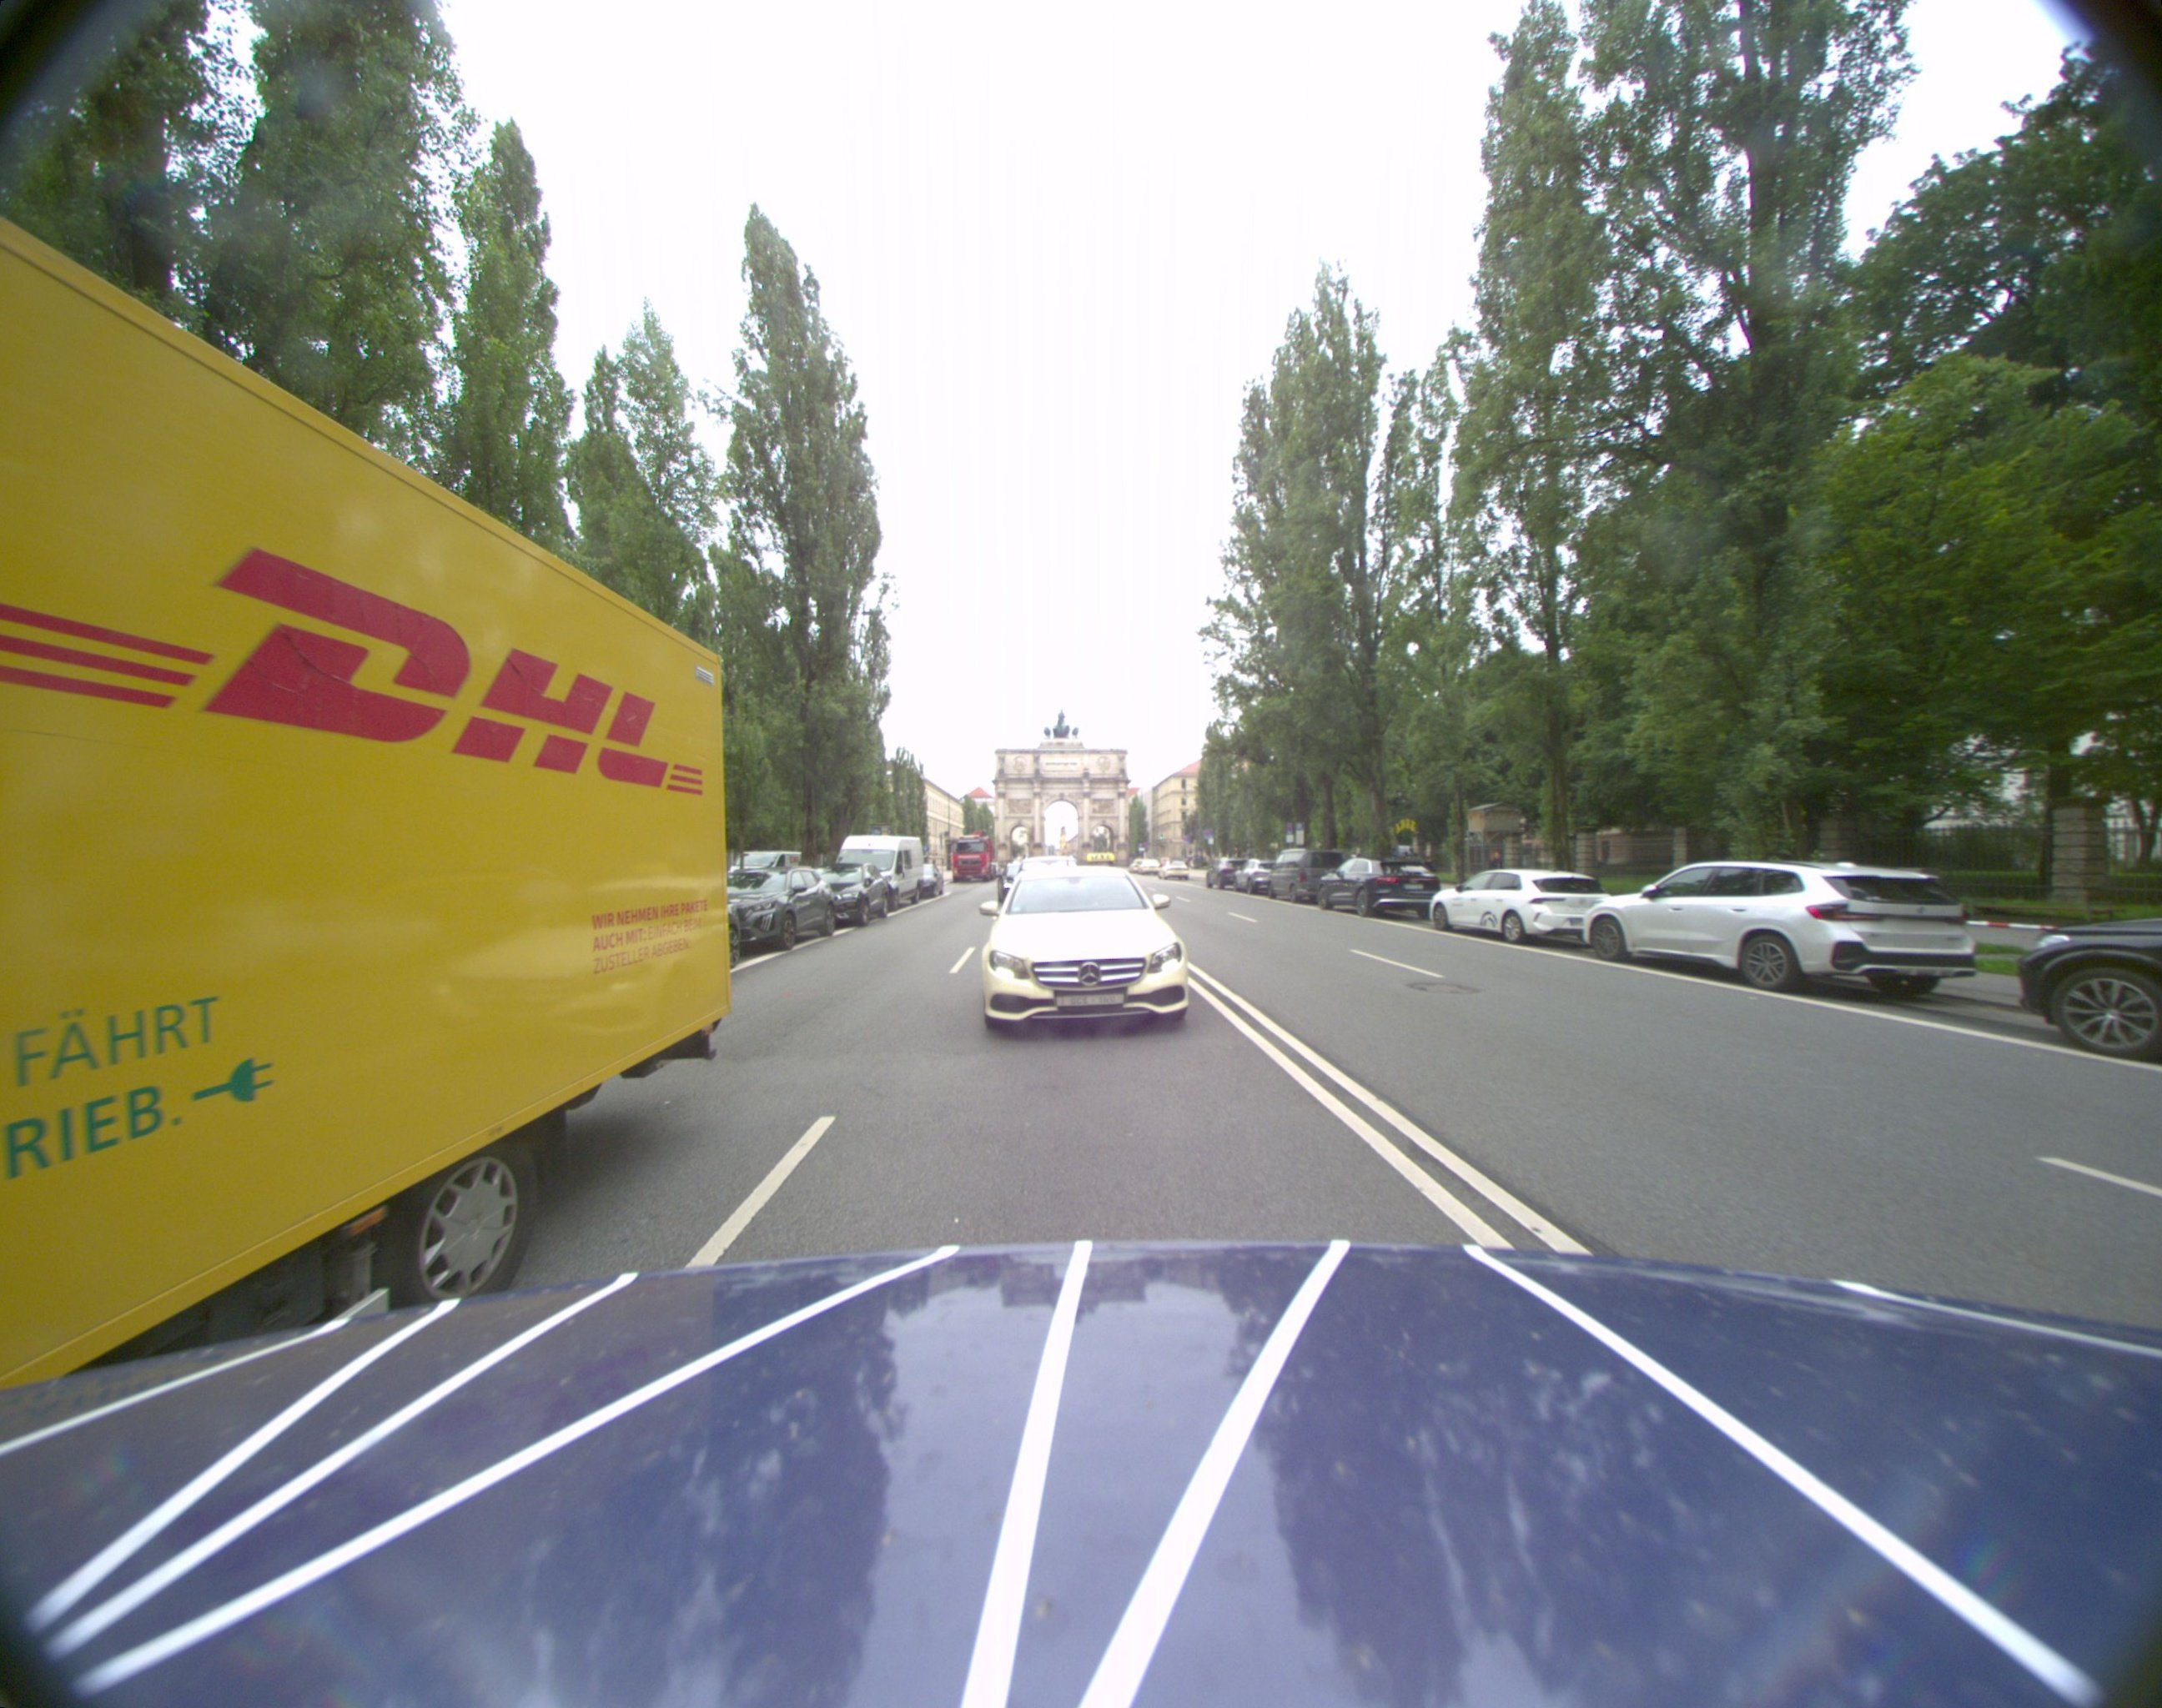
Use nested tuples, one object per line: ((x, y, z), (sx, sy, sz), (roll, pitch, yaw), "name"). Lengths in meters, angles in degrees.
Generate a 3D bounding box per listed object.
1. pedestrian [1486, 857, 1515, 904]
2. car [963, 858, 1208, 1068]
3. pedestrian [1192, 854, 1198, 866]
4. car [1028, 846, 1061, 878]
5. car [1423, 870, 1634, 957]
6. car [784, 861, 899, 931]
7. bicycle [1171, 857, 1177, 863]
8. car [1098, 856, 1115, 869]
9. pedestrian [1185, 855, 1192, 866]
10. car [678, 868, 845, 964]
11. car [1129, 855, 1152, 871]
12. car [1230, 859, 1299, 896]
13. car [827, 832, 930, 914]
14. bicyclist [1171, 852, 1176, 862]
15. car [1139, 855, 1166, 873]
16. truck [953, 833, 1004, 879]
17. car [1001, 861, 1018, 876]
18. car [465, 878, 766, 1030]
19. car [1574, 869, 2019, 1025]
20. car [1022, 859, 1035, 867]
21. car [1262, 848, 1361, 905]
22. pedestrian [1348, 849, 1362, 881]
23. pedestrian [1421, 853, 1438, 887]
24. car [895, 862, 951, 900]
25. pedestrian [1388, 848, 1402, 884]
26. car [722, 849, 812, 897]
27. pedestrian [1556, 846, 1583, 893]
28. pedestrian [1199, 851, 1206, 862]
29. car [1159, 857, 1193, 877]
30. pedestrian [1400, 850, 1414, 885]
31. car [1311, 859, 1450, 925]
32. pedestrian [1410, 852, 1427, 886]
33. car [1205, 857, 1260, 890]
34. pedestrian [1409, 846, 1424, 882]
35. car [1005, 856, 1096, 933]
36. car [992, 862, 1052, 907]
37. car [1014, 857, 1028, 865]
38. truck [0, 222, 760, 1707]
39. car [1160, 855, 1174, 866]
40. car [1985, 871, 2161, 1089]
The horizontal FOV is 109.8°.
((15.484, 0.956, 28.055), (0.584, 1.710, 0.786), (-1, 0, -3), "pedestrian")
((-0.025, 0.888, 8.466), (1.920, 1.566, 4.688), (-2, 0, -2), "car")
((16.380, 0.899, 109.186), (0.845, 1.668, 0.968), (0, 0, 15), "pedestrian")
((-2.160, 0.478, 46.203), (1.890, 1.846, 4.312), (-1, 0, -1), "car")
((8.933, 1.105, 15.649), (1.681, 1.414, 4.236), (1, 0, -2), "car")
((-6.183, 1.019, 20.128), (1.826, 1.581, 4.222), (-1, 0, -3), "car")
((13.743, 0.846, 112.309), (0.709, 0.933, 1.736), (-1, 0, 9), "bicycle")
((3.173, 1.029, 94.172), (1.790, 1.646, 4.112), (1, 0, -3), "car")
((15.538, 0.914, 109.510), (0.845, 1.668, 0.968), (0, 0, 15), "pedestrian")
((-6.033, 1.085, 14.896), (1.656, 1.494, 4.112), (-2, 0, -3), "car")
((6.259, 0.957, 80.258), (1.823, 1.550, 4.857), (2, 0, -2), "car")
((8.431, 1.049, 35.300), (1.896, 1.575, 4.653), (1, 0, -2), "car")
((-6.811, 0.586, 26.421), (2.080, 2.464, 6.282), (-1, 0, -2), "car")
((13.740, 0.433, 112.330), (0.695, 1.489, 0.862), (0, 0, 9), "bicyclist")
((6.880, 0.899, 73.206), (1.943, 1.615, 4.963), (0, 1, -2), "car")
((-7.517, 0.157, 56.810), (2.721, 3.091, 10.424), (0, 0, -2), "truck")
((-8.209, 1.646, 87.913), (1.808, 1.619, 3.999), (0, 0, -3), "car")
((-5.952, 1.160, 10.400), (1.637, 1.437, 4.147), (-3, 0, -3), "car")
((9.171, 1.043, 10.420), (1.790, 1.579, 4.460), (2, 0, -1), "car")
((-12.288, 2.088, 177.162), (1.785, 1.739, 4.325), (0, 0, 14), "car")
((8.545, 0.798, 28.662), (1.999, 1.945, 4.936), (1, 0, -2), "car")
((15.306, 0.615, 42.388), (0.551, 1.737, 0.532), (-1, 1, -3), "pedestrian")
((17.142, 0.763, 37.394), (0.551, 1.659, 0.532), (-1, 1, -3), "pedestrian")
((-6.922, 1.141, 33.655), (1.759, 1.441, 3.999), (-3, 0, -3), "car")
((16.998, 0.661, 41.141), (0.551, 1.948, 0.532), (-1, 1, -3), "pedestrian")
((-13.809, 0.779, 33.777), (1.999, 1.935, 5.082), (0, 0, -1), "car")
((18.275, 0.563, 28.413), (0.551, 1.737, 0.672), (-1, 1, -3), "pedestrian")
((22.076, 0.484, 138.046), (0.796, 2.002, 0.754), (0, 0, -37), "pedestrian")
((7.317, 1.007, 58.772), (1.936, 1.488, 4.790), (0, -1, -1), "car")
((17.570, 0.719, 40.946), (0.434, 1.824, 0.612), (-1, 1, -3), "pedestrian")
((8.493, 0.996, 22.097), (1.820, 1.599, 5.051), (2, 0, -2), "car")
((16.576, 0.730, 37.340), (0.551, 1.691, 0.532), (-1, 1, -3), "pedestrian")
((7.893, 0.994, 40.020), (1.787, 1.586, 4.612), (2, 0, -2), "car")
((18.241, 0.551, 41.354), (0.551, 1.948, 0.532), (-1, 1, -3), "pedestrian")
((-0.753, 0.898, 19.024), (1.953, 1.615, 4.410), (-2, 0, -2), "car")
((-2.064, 1.024, 26.992), (1.923, 1.320, 4.410), (-2, 0, -4), "car")
((-13.528, 1.601, 171.758), (1.785, 1.739, 4.325), (0, 0, 14), "car")
((-3.069, 0.326, 1.161), (2.334, 2.881, 7.330), (-1, 0, -3), "truck")
((15.696, 1.143, 138.740), (2.004, 1.844, 4.989), (1, 1, 0), "car")
((9.275, 0.996, 4.570), (1.885, 1.648, 4.716), (2, 0, -3), "car")
